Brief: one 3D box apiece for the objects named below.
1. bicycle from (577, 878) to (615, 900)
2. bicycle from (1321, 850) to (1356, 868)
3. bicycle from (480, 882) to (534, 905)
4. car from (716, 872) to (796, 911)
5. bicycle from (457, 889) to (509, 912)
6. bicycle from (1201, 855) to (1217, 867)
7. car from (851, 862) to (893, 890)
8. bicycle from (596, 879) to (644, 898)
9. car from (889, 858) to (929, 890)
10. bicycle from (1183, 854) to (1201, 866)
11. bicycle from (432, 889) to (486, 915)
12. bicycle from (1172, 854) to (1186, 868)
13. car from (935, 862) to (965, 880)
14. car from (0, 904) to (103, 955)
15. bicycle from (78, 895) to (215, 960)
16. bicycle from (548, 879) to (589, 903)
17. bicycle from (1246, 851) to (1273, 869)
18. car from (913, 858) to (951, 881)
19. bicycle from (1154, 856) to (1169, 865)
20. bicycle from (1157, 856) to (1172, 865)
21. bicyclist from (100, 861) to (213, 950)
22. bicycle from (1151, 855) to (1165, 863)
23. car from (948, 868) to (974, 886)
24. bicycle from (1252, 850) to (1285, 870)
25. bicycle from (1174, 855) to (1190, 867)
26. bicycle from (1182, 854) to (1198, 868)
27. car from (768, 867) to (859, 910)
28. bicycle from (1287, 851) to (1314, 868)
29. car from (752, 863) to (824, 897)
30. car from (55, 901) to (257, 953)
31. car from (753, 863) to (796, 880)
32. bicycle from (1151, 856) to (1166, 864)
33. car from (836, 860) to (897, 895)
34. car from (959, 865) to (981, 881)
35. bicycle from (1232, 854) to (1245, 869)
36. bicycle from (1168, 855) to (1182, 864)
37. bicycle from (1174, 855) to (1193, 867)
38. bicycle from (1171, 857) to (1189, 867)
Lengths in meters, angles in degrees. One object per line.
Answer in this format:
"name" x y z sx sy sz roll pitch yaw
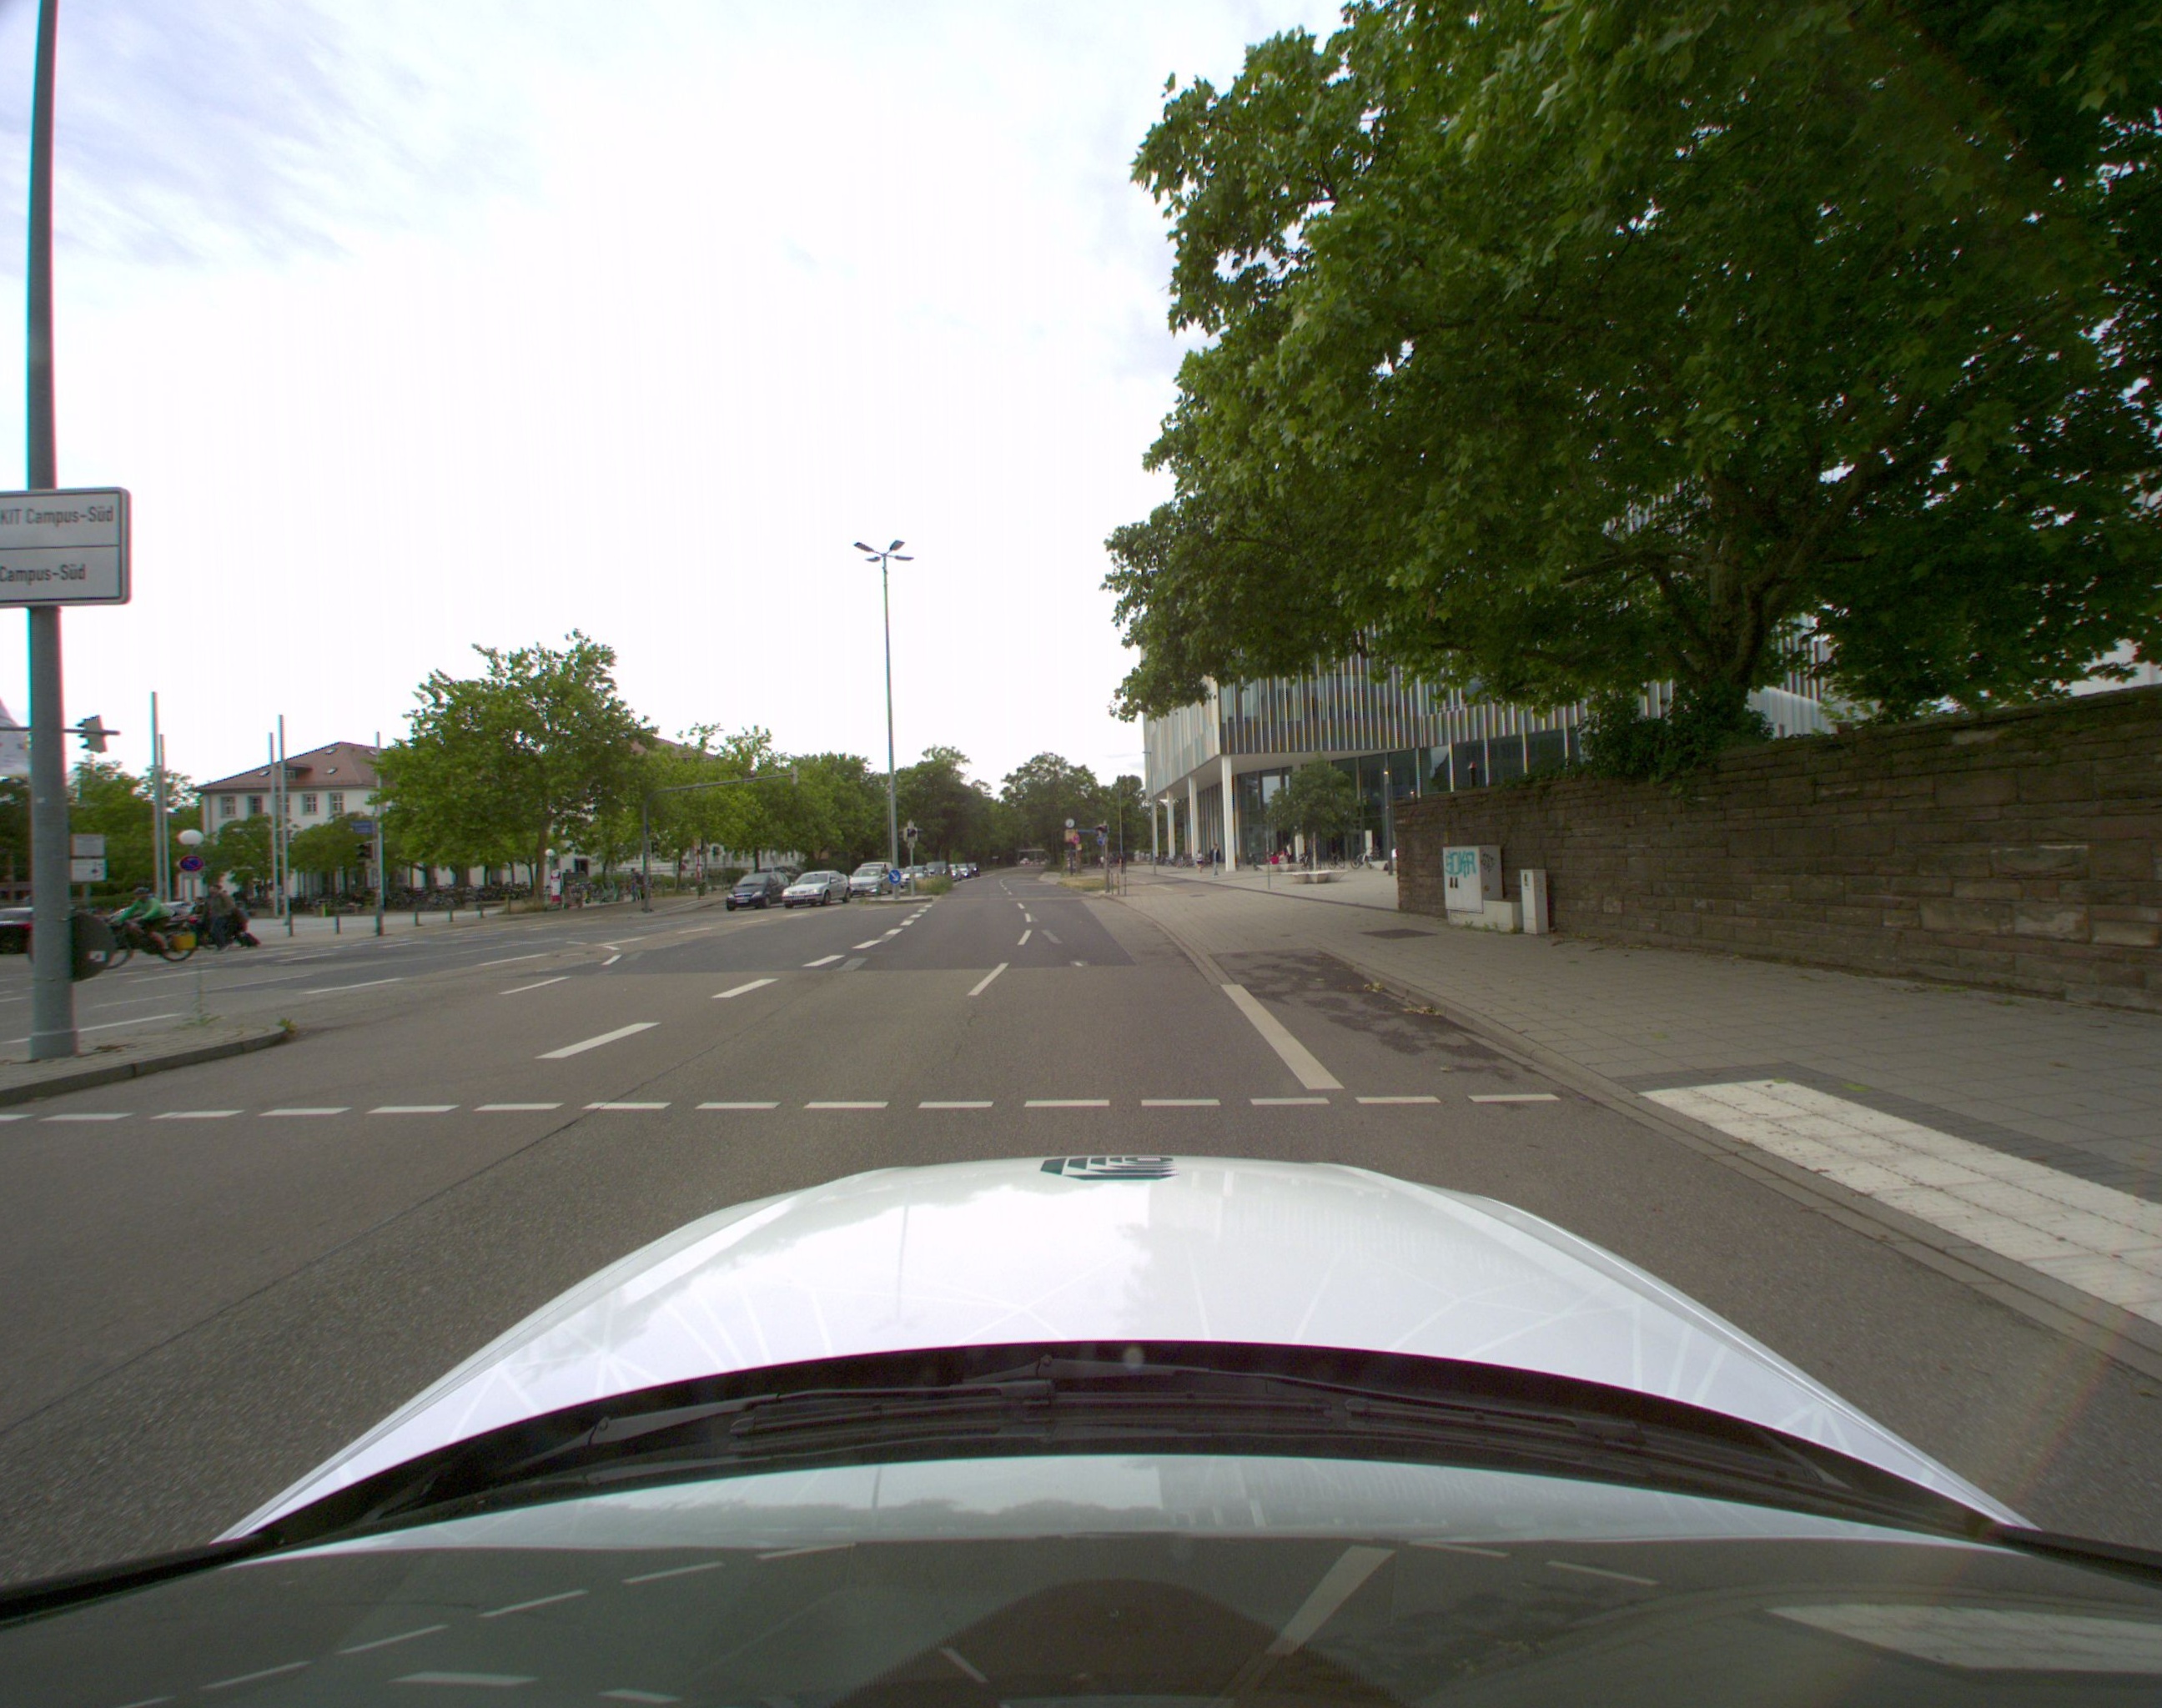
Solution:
"bicycle" -38.509 2.761 64.695 2.396 1.594 0.720 -3 -1 -6
"bicycle" 15.768 0.307 49.817 2.200 1.006 0.774 -3 0 -32
"bicycle" -37.412 2.554 53.094 2.814 1.329 0.720 -3 -1 -6
"car" -14.120 1.594 35.583 1.845 1.463 3.699 -3 0 2
"bicycle" -37.028 2.853 50.420 2.532 1.269 0.720 -3 0 -6
"bicycle" 10.629 0.601 67.769 1.496 0.929 0.435 -3 1 -41
"car" -14.377 1.483 56.280 1.766 1.848 4.486 -1 0 -1
"bicycle" -31.649 2.357 55.974 2.743 1.174 0.720 -3 0 -6
"car" -11.939 1.368 56.703 1.988 2.013 3.997 -3 0 -2
"bicycle" 10.264 0.571 75.238 1.597 0.936 0.570 -5 0 8
"bicycle" -37.065 2.847 48.531 2.481 1.353 0.720 -3 -1 -6
"bicycle" 8.720 0.609 72.499 0.635 1.140 2.196 -5 0 -6
"car" -11.418 1.486 71.317 1.899 1.465 4.907 -1 0 -2
"car" -35.240 2.473 26.562 3.981 1.472 1.996 -1 0 -6
"bicycle" -21.922 1.691 19.187 0.603 1.333 2.310 -1 0 -1
"bicycle" -37.971 2.738 60.335 2.396 1.594 0.720 -3 -1 -6
"bicycle" 12.154 0.428 55.431 0.727 1.115 2.196 -3 0 45
"car" -11.697 1.213 64.357 1.986 1.687 4.949 -1 0 1
"bicycle" 9.375 0.748 95.123 1.602 0.874 0.556 -3 0 -2
"bicycle" 9.588 0.726 93.943 1.602 0.874 0.556 -3 0 -2
"bicyclist" -21.697 1.171 19.146 1.177 2.014 1.281 -1 0 -2
"bicycle" 9.285 0.641 98.539 1.604 0.875 0.555 -3 0 -6
"car" -11.873 2.239 80.680 1.988 1.547 4.176 -4 0 -2
"bicycle" 12.460 0.411 54.042 2.736 1.188 0.765 -3 0 -44
"bicycle" 9.417 0.638 76.117 1.396 1.043 0.559 -5 0 -2
"bicycle" 9.298 0.606 69.718 0.608 1.080 1.954 -4 0 -13
"car" -11.023 1.367 33.897 1.984 1.529 4.279 -3 0 5
"bicycle" 14.066 0.328 52.168 1.971 1.002 0.765 -3 0 -44
"car" -15.322 1.322 42.777 1.984 1.619 4.005 -3 0 5
"car" -30.460 2.389 26.952 4.136 1.472 1.996 -1 0 -6
"car" -30.198 1.746 80.262 3.579 1.602 1.649 -1 0 -5
"bicycle" 9.213 0.724 96.720 1.602 0.874 0.556 -3 0 -2
"car" -11.400 1.228 43.563 1.950 1.584 4.256 -4 0 1
"car" -12.210 2.031 89.929 1.898 1.593 4.513 -3 0 -2
"bicycle" 11.135 0.527 57.535 0.636 1.061 1.842 -1 0 3
"bicycle" 9.555 0.554 83.006 1.279 0.874 0.556 -3 0 -2
"bicycle" 9.628 0.622 76.695 1.602 0.982 0.556 -5 0 -2
"bicycle" 9.663 0.784 79.563 1.602 0.875 0.556 -3 0 -2
